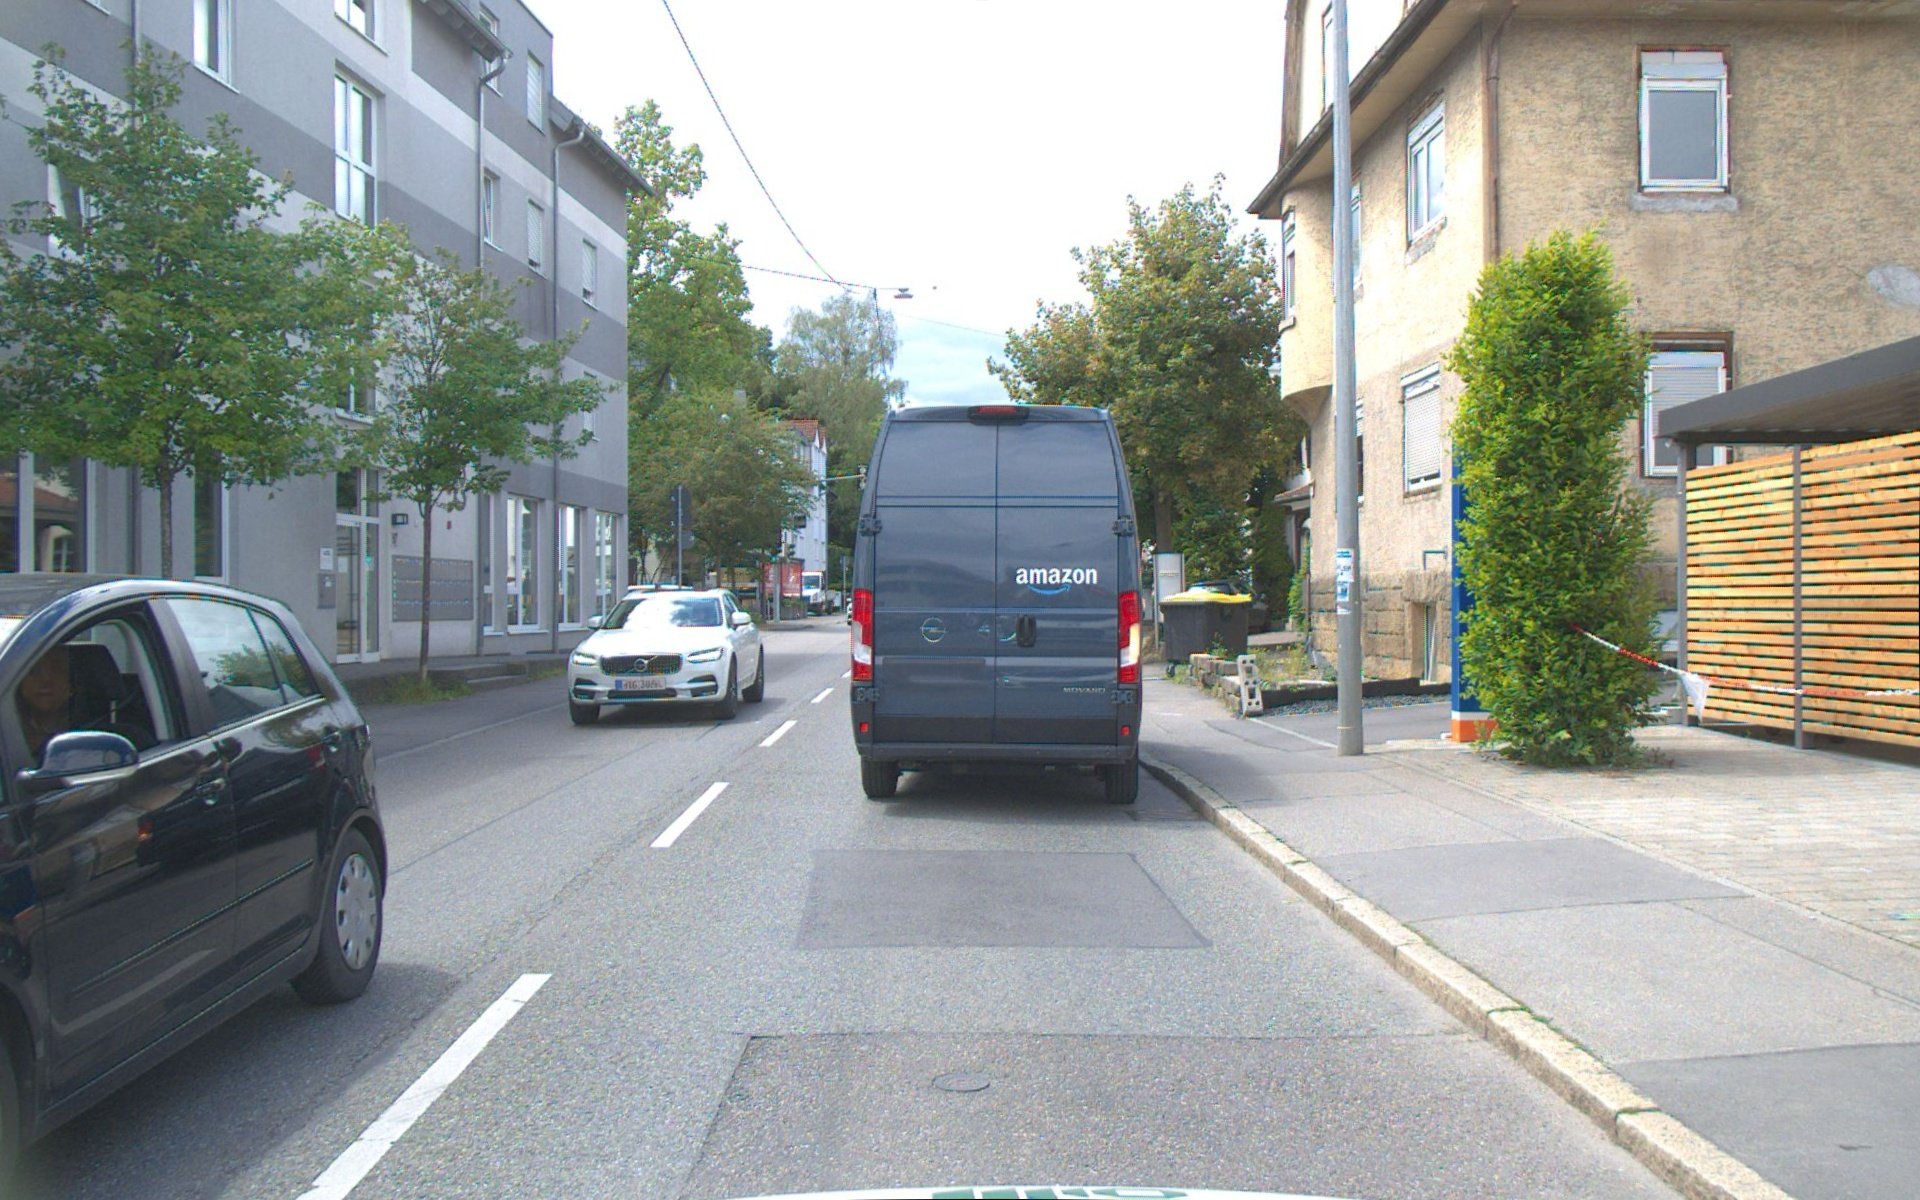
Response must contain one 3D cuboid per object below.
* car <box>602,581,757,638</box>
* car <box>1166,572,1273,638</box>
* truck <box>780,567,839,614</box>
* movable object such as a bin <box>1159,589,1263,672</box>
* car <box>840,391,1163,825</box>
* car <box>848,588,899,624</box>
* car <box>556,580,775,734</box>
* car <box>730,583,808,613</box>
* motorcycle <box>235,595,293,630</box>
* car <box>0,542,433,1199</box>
[{"bbox_3d":[-8.008,0.244,47.485,4.125,1.540,1.822,1,1,1],"label":"car"},{"bbox_3d":[7.075,0.106,44.809,1.717,1.543,4.077,-4,1,25],"label":"car"},{"bbox_3d":[-8.024,-0.505,88.617,2.178,2.421,6.328,0,0,4],"label":"truck"},{"bbox_3d":[4.023,0.472,26.573,1.170,1.288,1.197,0,0,-31],"label":"movable object such as a bin"},{"bbox_3d":[0.422,0.028,13.894,2.103,2.819,6.252,0,0,3],"label":"car"},{"bbox_3d":[-3.607,0.222,69.394,1.835,1.449,4.116,0,0,1],"label":"car"},{"bbox_3d":[-3.505,0.604,20.576,1.859,1.587,4.800,-3,0,-1],"label":"car"},{"bbox_3d":[-9.357,-0.109,81.228,3.618,1.450,1.804,1,0,-3],"label":"car"},{"bbox_3d":[-21.088,0.377,50.152,1.180,1.022,2.332,0,0,-11],"label":"motorcycle"},{"bbox_3d":[-2.994,0.706,4.604,1.795,1.612,4.036,-2,0,-2],"label":"car"}]
